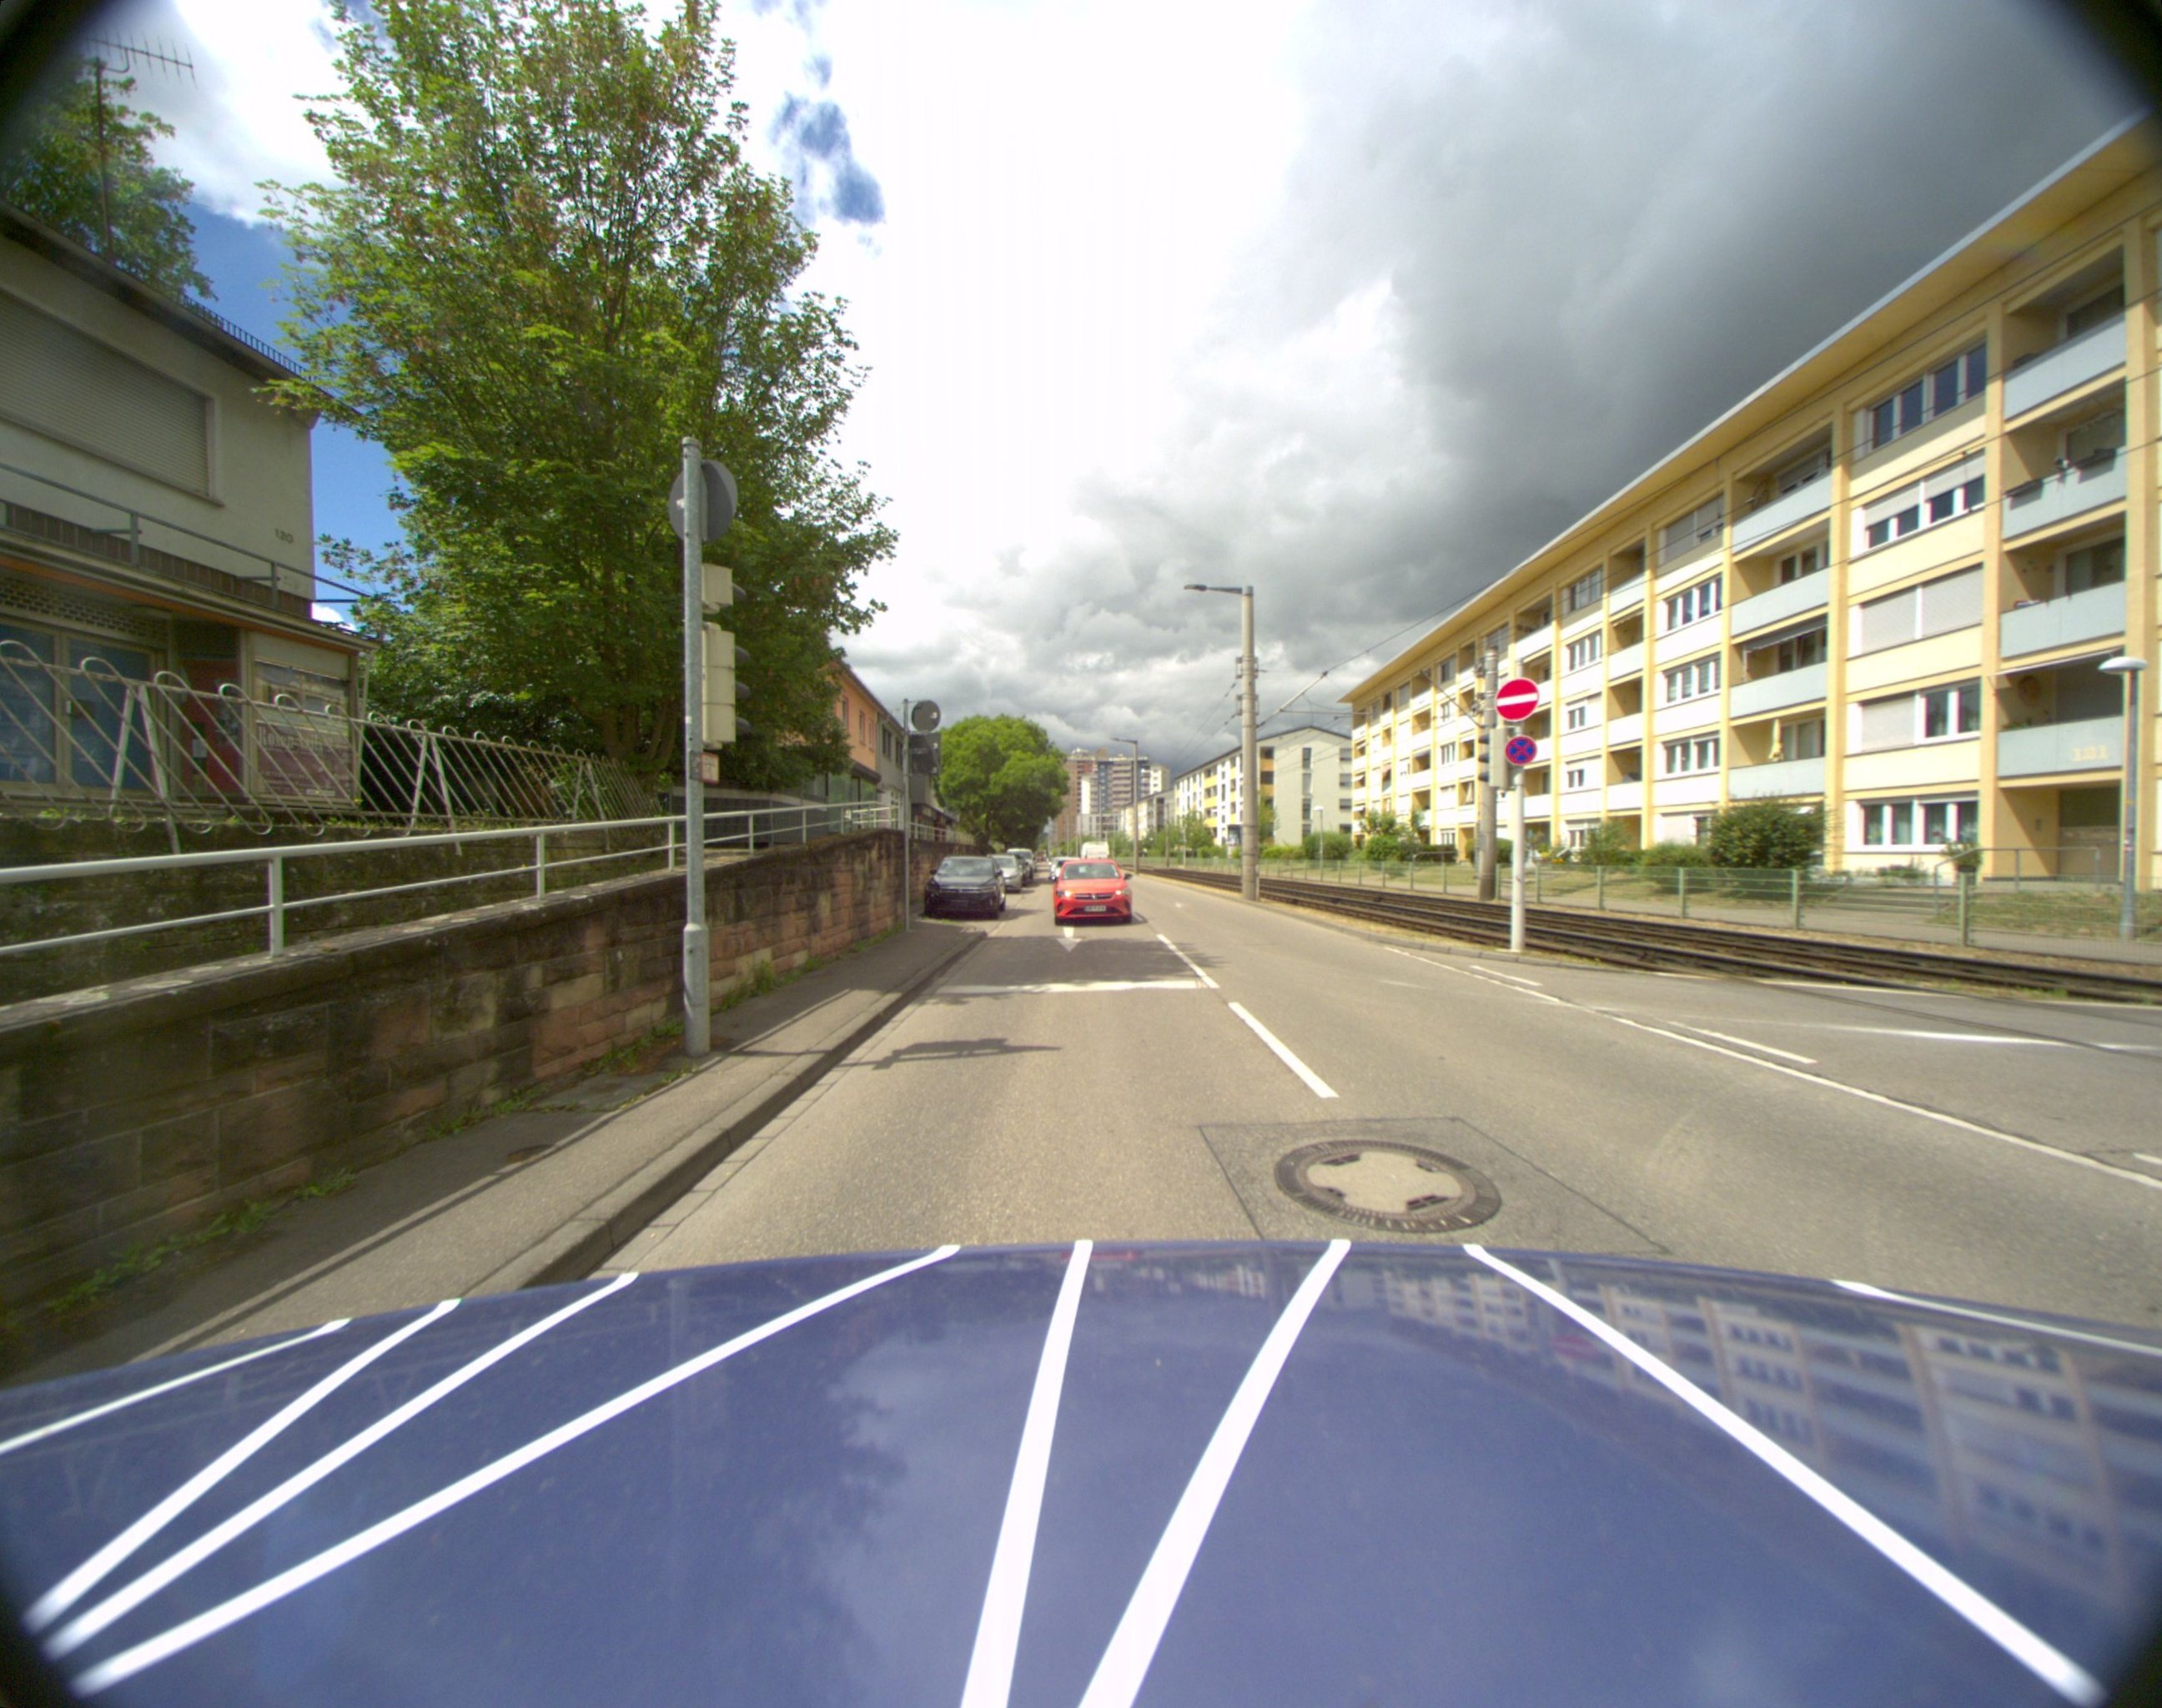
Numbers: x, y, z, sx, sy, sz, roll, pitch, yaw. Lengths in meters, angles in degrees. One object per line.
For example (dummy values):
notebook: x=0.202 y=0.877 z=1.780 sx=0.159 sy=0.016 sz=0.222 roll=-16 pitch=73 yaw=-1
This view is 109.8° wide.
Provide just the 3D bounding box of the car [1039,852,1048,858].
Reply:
car: x=-10.919 y=0.319 z=220.340 sx=2.441 sy=1.717 sz=5.482 roll=0 pitch=0 yaw=-2

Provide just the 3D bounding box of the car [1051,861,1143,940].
car: x=0.251 y=0.931 z=17.147 sx=1.783 sy=1.434 sz=4.130 roll=-2 pitch=1 yaw=-2

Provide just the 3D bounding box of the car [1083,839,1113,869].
car: x=1.369 y=-0.016 z=63.492 sx=2.237 sy=2.460 sz=5.085 roll=0 pitch=1 yaw=-2

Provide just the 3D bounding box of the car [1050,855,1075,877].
car: x=-1.248 y=0.789 z=52.171 sx=1.639 sy=1.346 sz=3.999 roll=-2 pitch=1 yaw=-1

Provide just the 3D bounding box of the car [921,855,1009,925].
car: x=-2.840 y=0.840 z=19.440 sx=1.760 sy=1.570 sz=4.021 roll=0 pitch=0 yaw=-2

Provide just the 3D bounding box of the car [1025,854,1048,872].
car: x=-3.956 y=0.786 z=68.076 sx=1.854 sy=1.508 sz=4.810 roll=0 pitch=0 yaw=-2

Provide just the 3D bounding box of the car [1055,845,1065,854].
car: x=-4.886 y=-1.001 z=176.014 sx=2.237 sy=2.051 sz=4.360 roll=0 pitch=1 yaw=-2

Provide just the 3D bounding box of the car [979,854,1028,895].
car: x=-3.168 y=0.816 z=31.810 sx=1.760 sy=1.559 sz=4.174 roll=1 pitch=0 yaw=-2

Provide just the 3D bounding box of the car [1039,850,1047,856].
car: x=-11.673 y=-0.270 z=233.906 sx=2.441 sy=1.717 sz=5.482 roll=0 pitch=0 yaw=-2

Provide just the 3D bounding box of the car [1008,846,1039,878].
car: x=-3.761 y=0.463 z=50.233 sx=1.854 sy=1.997 sz=4.968 roll=0 pitch=0 yaw=-2

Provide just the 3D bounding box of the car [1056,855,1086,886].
car: x=-0.539 y=0.791 z=38.898 sx=1.499 sy=1.477 sz=3.519 roll=0 pitch=0 yaw=-2

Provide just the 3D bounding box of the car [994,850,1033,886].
car: x=-3.315 y=0.646 z=37.935 sx=1.760 sy=1.706 sz=3.999 roll=0 pitch=1 yaw=-2
